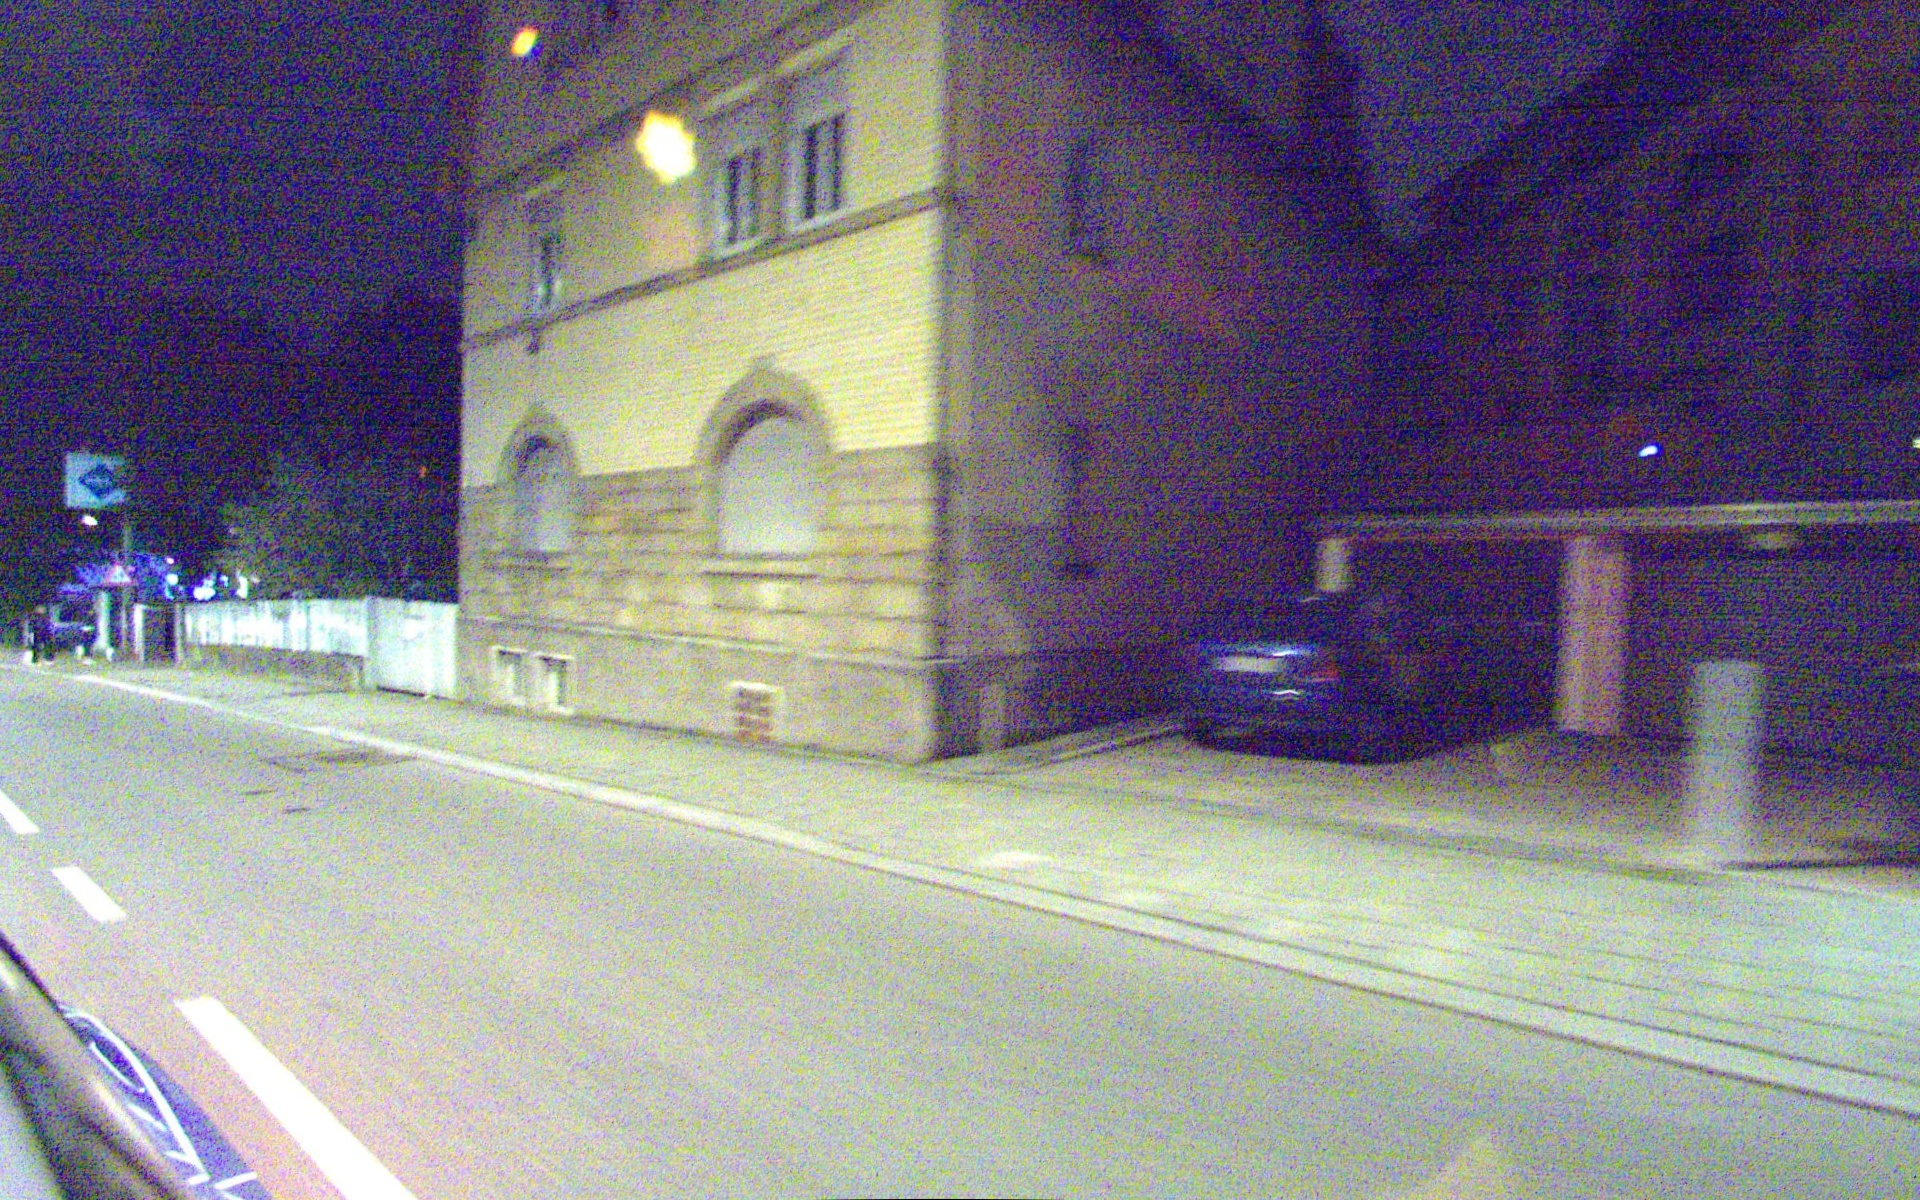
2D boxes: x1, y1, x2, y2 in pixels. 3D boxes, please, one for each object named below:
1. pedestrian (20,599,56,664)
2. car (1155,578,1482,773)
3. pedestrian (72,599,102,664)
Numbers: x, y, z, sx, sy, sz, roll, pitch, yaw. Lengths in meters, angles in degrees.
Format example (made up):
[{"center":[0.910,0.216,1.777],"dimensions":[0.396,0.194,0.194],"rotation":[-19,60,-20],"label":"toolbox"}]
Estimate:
[{"center":[-25.519,0.856,28.007],"dimensions":[0.500,1.773,0.664],"rotation":[-1,0,41],"label":"pedestrian"},{"center":[3.489,0.568,9.480],"dimensions":[1.718,1.452,3.611],"rotation":[-1,0,40],"label":"car"},{"center":[-24.219,0.868,28.080],"dimensions":[0.500,1.773,0.557],"rotation":[-1,0,41],"label":"pedestrian"}]
